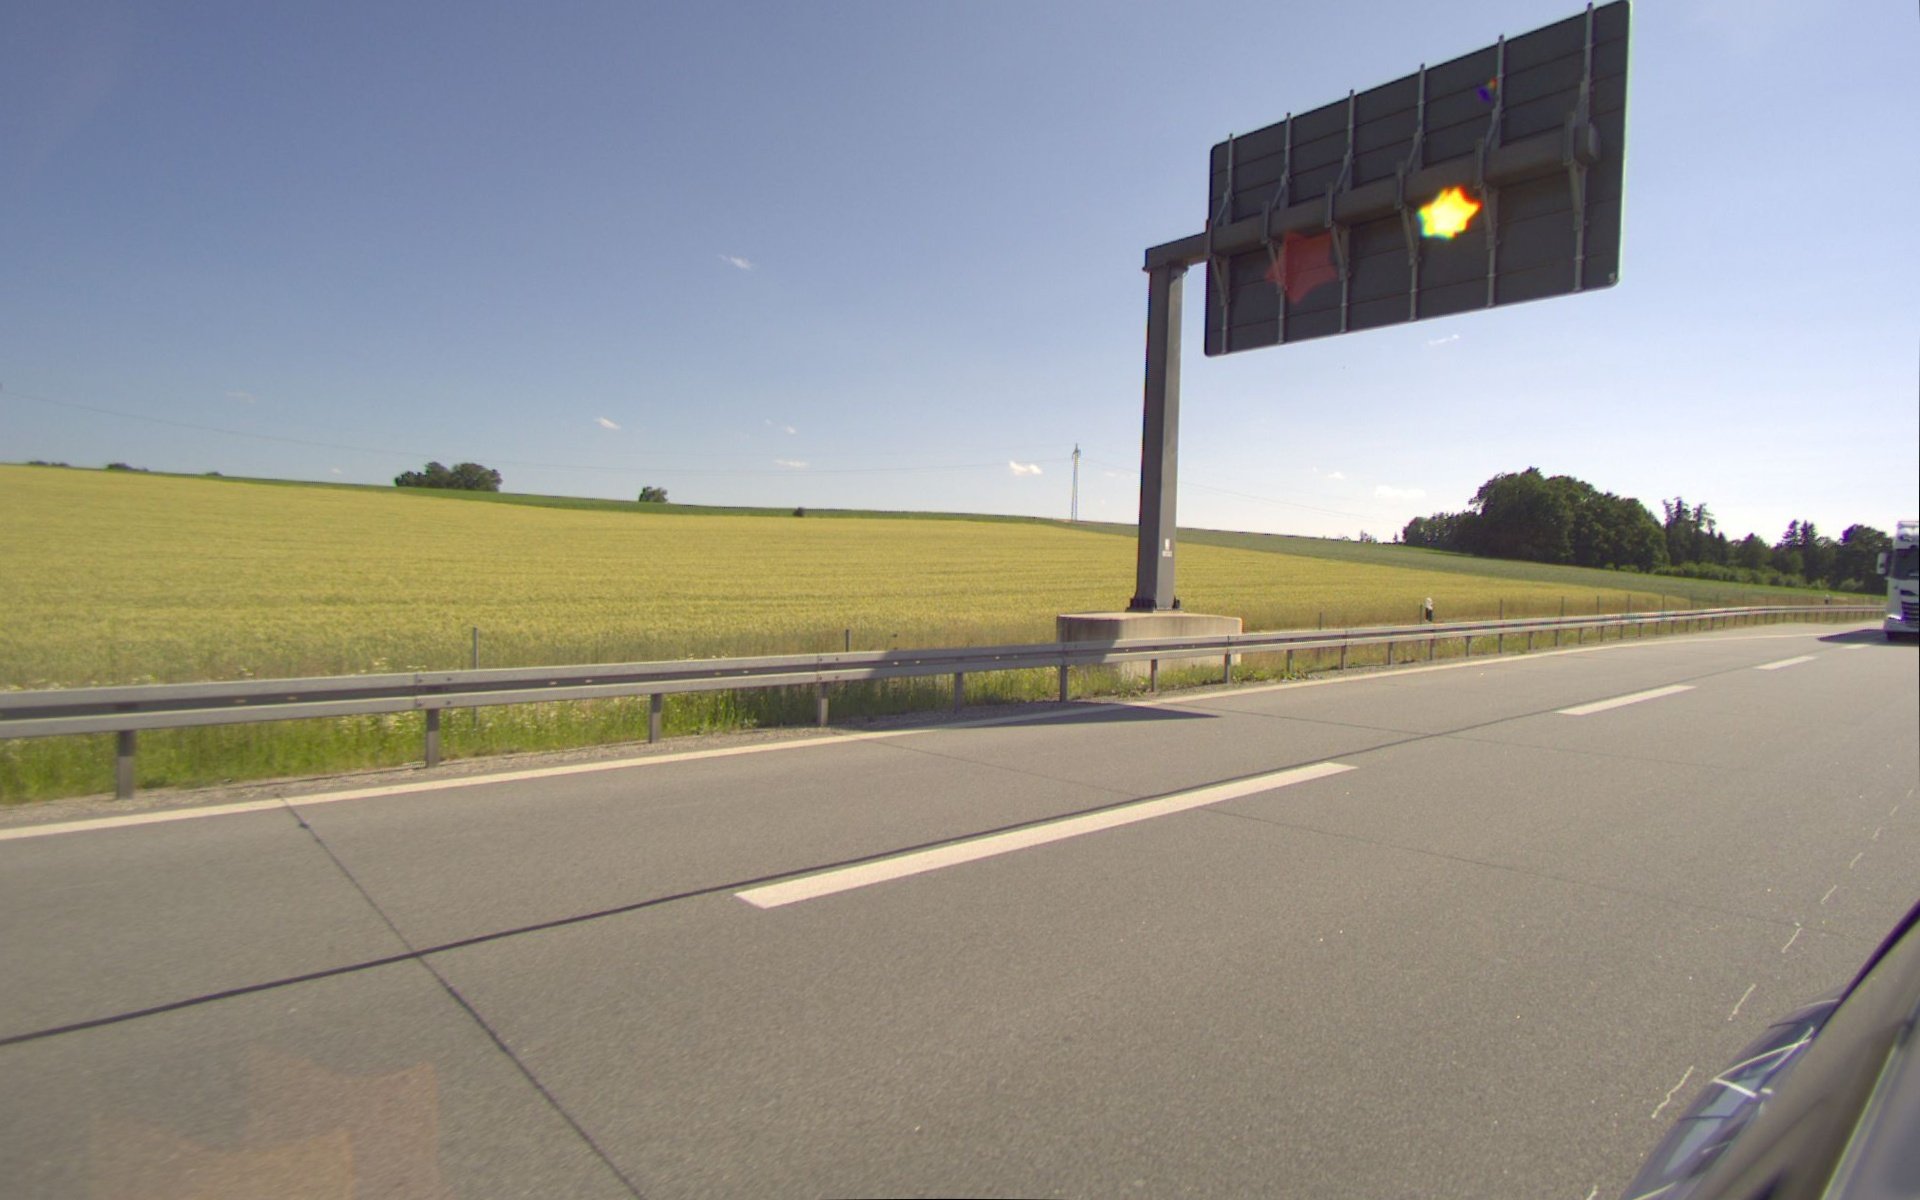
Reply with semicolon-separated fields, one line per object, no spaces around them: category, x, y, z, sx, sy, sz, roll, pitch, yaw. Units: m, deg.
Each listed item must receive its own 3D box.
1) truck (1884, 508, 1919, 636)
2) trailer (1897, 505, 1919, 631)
truck;33.320;-0.861;33.572;6.081;4.063;3.089;0;3;-41
trailer;39.875;-1.045;39.409;15.191;4.345;3.184;0;4;-41
